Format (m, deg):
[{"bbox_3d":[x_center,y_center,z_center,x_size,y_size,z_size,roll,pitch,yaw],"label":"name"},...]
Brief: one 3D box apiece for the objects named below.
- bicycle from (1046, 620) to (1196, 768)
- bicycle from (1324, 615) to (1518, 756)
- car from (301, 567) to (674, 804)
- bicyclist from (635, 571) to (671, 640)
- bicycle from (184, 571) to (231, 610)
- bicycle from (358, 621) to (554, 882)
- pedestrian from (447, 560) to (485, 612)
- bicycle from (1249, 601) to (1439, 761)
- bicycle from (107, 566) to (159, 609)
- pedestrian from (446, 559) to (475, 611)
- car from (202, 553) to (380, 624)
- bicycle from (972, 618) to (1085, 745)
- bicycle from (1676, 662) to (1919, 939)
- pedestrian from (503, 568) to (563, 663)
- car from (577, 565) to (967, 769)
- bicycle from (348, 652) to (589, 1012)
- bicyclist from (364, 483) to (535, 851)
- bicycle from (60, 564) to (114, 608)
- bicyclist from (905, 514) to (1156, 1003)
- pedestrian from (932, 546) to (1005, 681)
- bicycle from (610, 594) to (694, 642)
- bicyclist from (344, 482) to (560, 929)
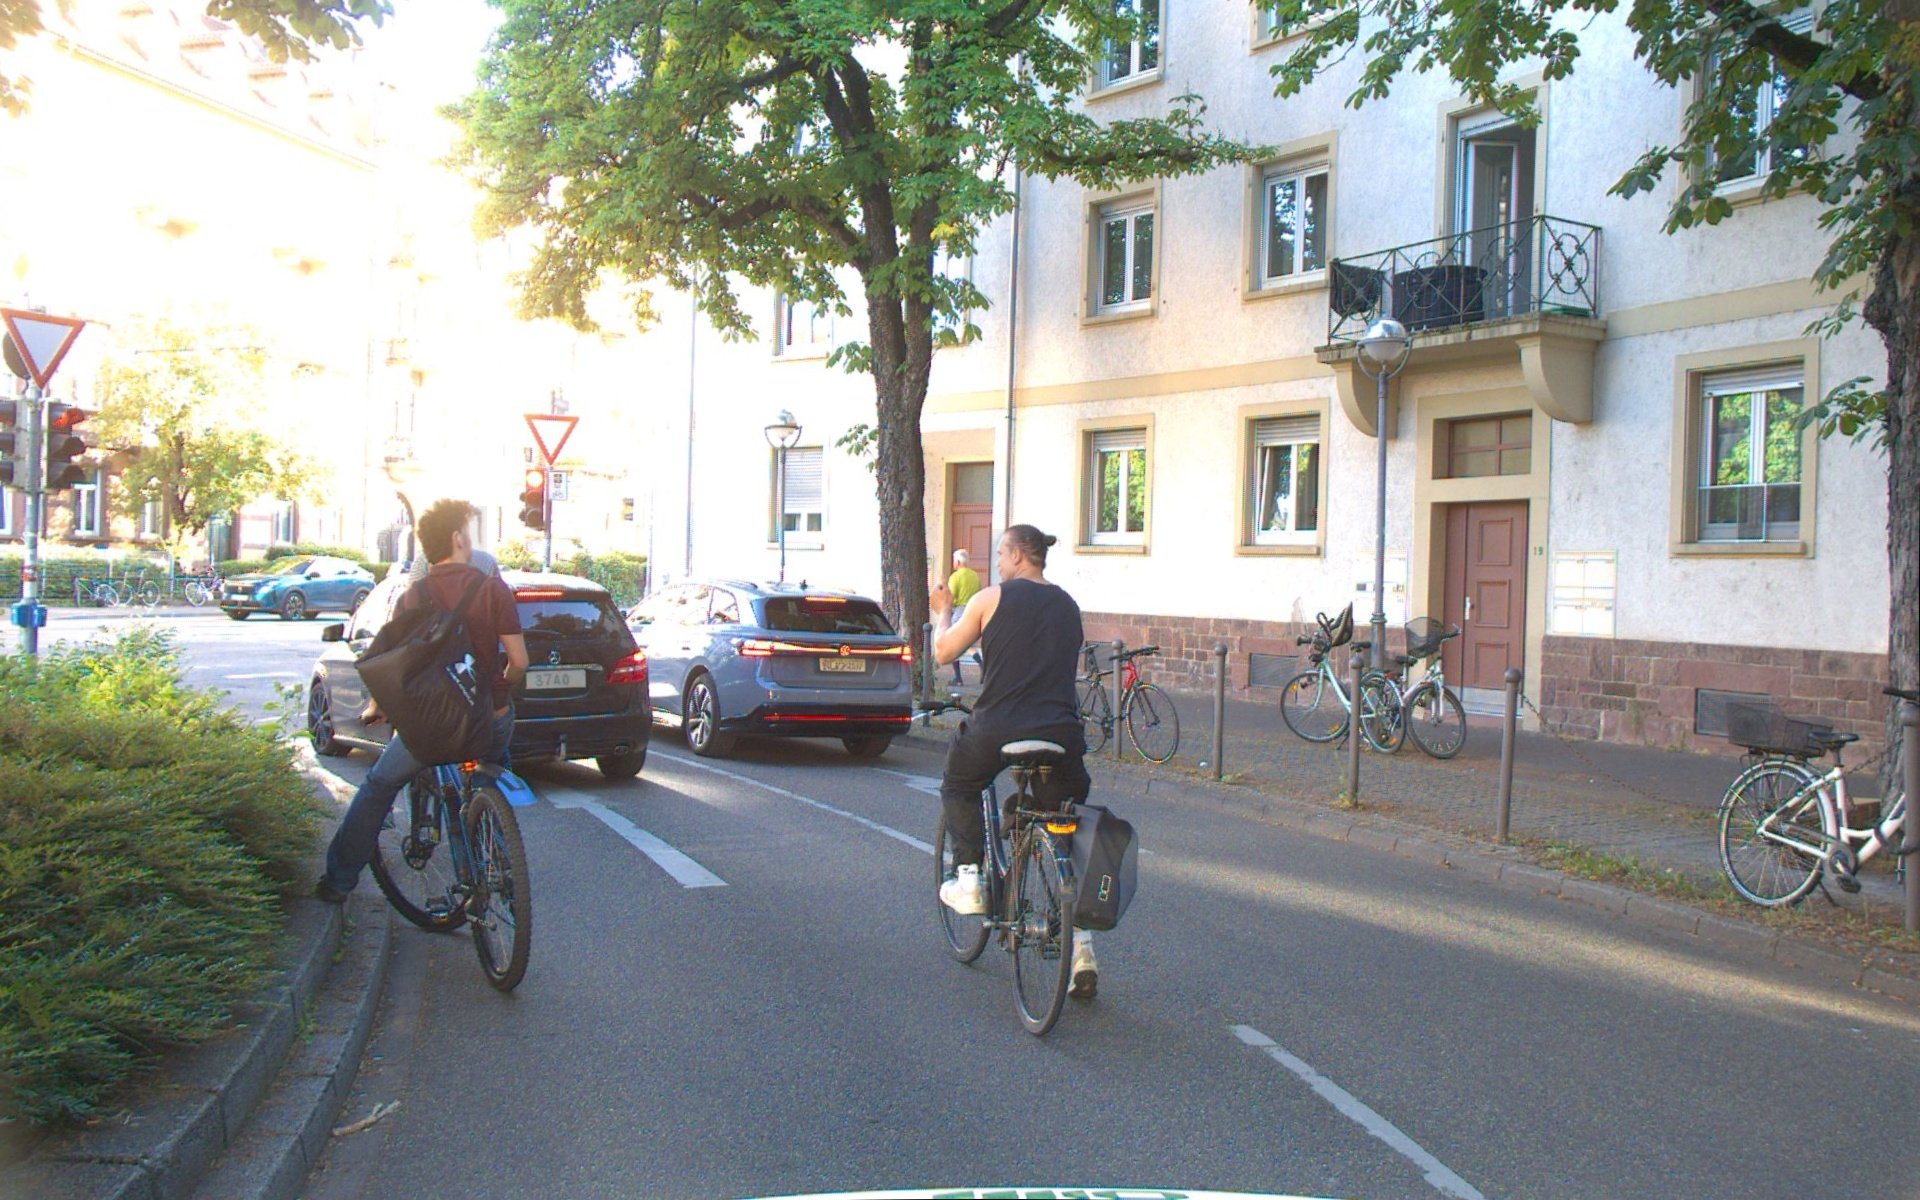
[{"bbox_3d":[1.372,0.781,14.417,0.519,1.126,1.728,-1,2,-24],"label":"bicycle"},{"bbox_3d":[4.118,0.737,14.943,0.657,1.126,1.956,2,0,-19],"label":"bicycle"},{"bbox_3d":[-3.861,0.527,13.103,1.774,1.569,3.814,-1,1,-34],"label":"car"},{"bbox_3d":[-7.398,0.134,39.848,0.668,1.626,0.523,1,0,-39],"label":"bicyclist"},{"bbox_3d":[-21.461,-0.270,47.171,0.433,1.056,1.233,3,1,21],"label":"bicycle"},{"bbox_3d":[-2.880,0.764,9.280,0.799,1.205,2.211,2,1,-23],"label":"bicycle"},{"bbox_3d":[-16.627,-0.458,55.693,0.698,1.693,0.895,5,2,33],"label":"pedestrian"},{"bbox_3d":[3.421,0.678,14.916,0.707,1.299,1.955,0,1,-21],"label":"bicycle"},{"bbox_3d":[-22.360,-0.329,44.724,0.433,1.126,1.233,3,1,22],"label":"bicycle"},{"bbox_3d":[-17.029,-0.495,56.440,0.649,1.745,0.635,2,0,29],"label":"pedestrian"},{"bbox_3d":[-17.235,-0.293,42.853,1.901,1.678,4.413,2,0,17],"label":"car"},{"bbox_3d":[0.639,0.756,15.989,0.474,1.082,1.625,-1,2,-22],"label":"bicycle"},{"bbox_3d":[4.242,0.899,7.648,0.505,1.114,1.962,0,1,-20],"label":"bicycle"},{"bbox_3d":[-7.859,0.277,30.431,0.889,1.663,0.721,3,1,-21],"label":"pedestrian"},{"bbox_3d":[-1.951,0.549,15.741,1.951,1.613,4.427,4,-1,-32],"label":"car"},{"bbox_3d":[-2.038,0.828,6.671,0.707,1.126,1.953,2,0,-22],"label":"bicycle"},{"bbox_3d":[-2.897,0.356,9.334,0.783,1.946,0.938,2,0,-23],"label":"bicyclist"},{"bbox_3d":[-22.915,-0.370,43.411,0.433,1.126,1.233,3,1,22],"label":"bicycle"},{"bbox_3d":[0.239,0.541,6.265,0.675,1.685,0.985,0,1,-15],"label":"bicyclist"},{"bbox_3d":[0.104,0.164,22.095,0.635,1.757,0.880,-1,2,-27],"label":"pedestrian"},{"bbox_3d":[-7.407,0.444,39.850,1.947,1.126,0.528,1,0,-40],"label":"bicycle"},{"bbox_3d":[-2.014,0.378,6.496,0.697,1.601,0.951,2,0,-22],"label":"bicyclist"}]
